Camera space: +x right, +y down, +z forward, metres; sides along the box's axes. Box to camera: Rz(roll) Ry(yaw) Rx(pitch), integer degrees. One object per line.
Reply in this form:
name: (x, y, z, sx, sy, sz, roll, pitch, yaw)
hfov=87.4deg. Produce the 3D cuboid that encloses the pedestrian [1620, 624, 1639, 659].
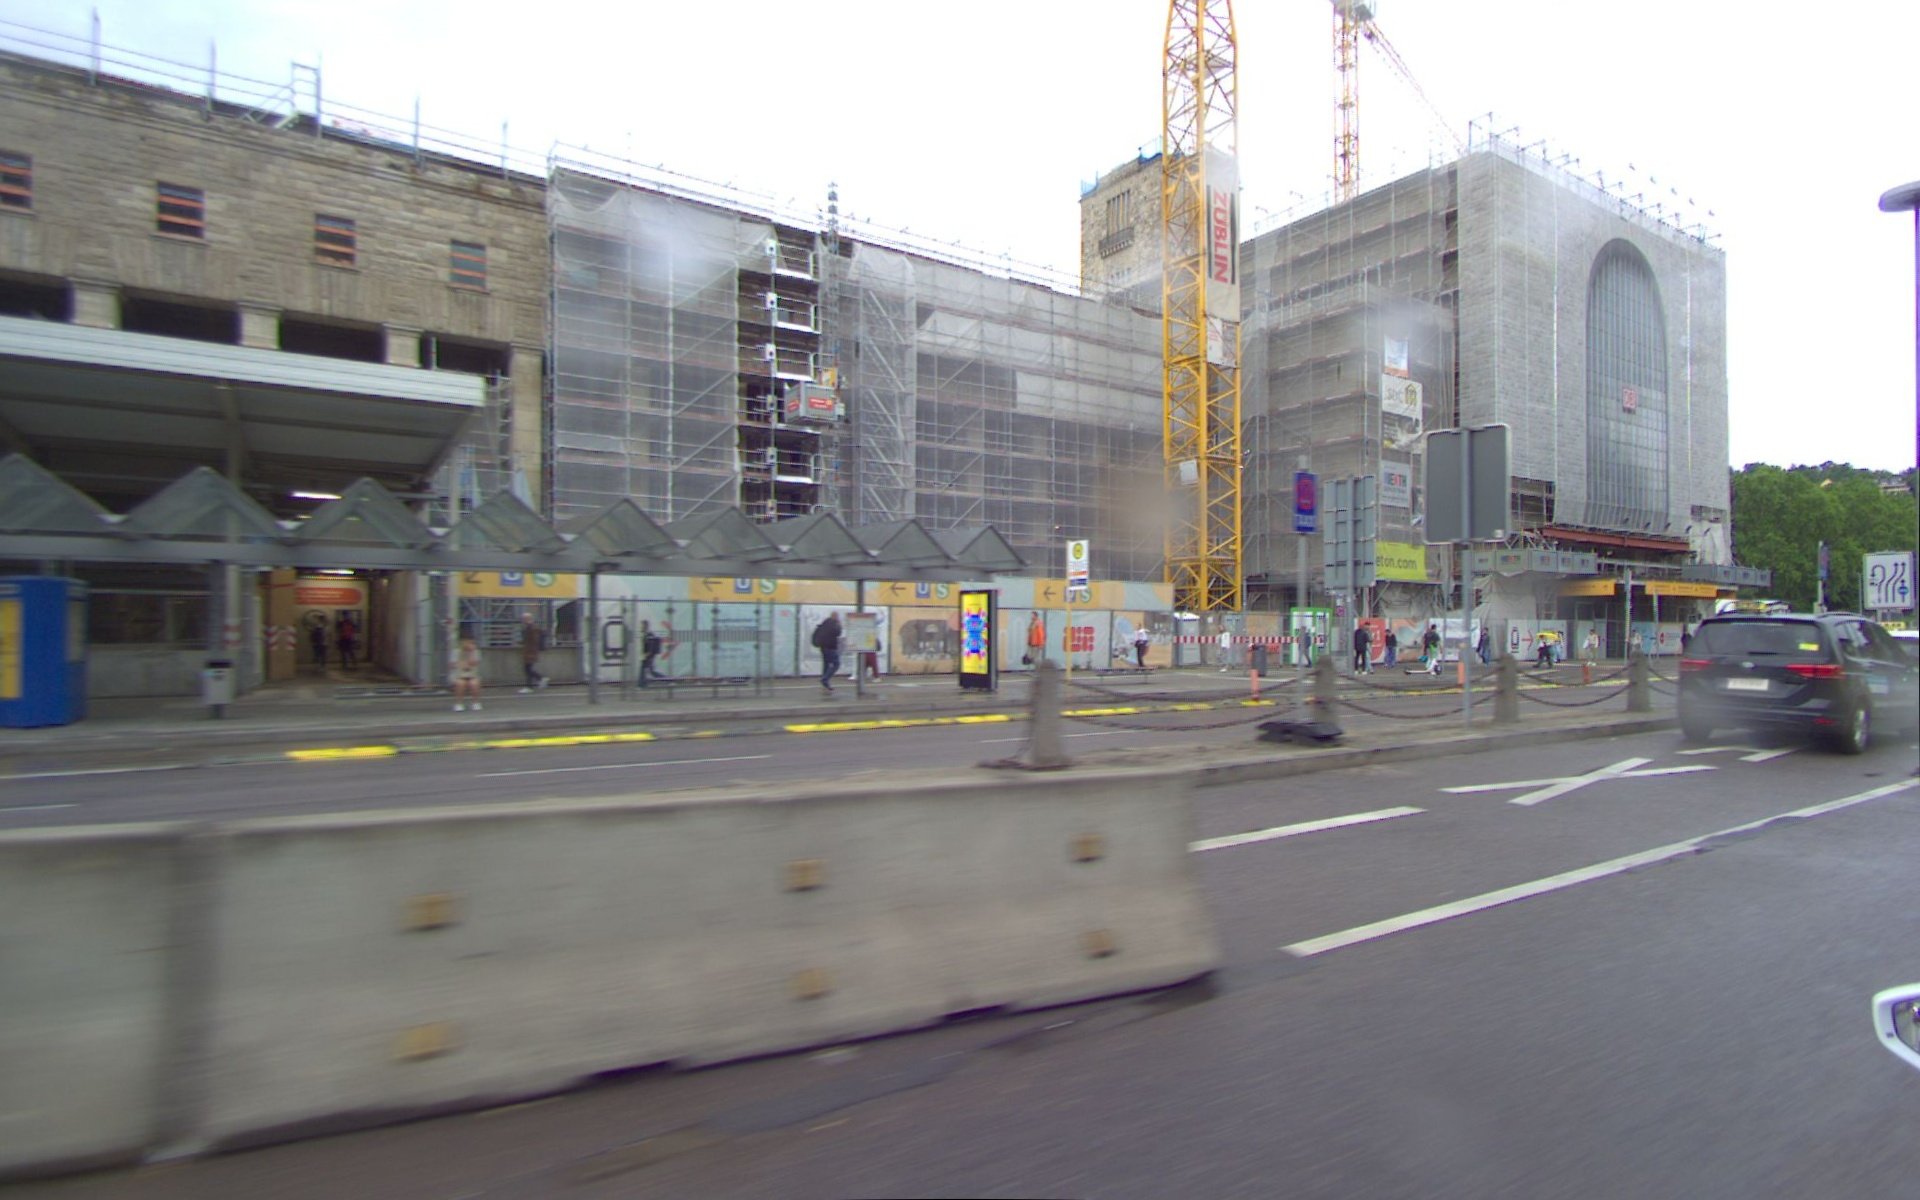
pedestrian: (36.290, 2.239, 54.422, 0.762, 1.865, 0.830, 0, -1, 42)

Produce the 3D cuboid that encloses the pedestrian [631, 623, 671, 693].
pedestrian: (-7.384, 1.370, 23.973, 0.695, 1.629, 0.797, 1, -1, -35)

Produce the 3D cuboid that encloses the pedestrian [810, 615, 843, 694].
pedestrian: (-3.187, 1.285, 23.980, 0.690, 1.865, 0.745, 1, -1, -14)

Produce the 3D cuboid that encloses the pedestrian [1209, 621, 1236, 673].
pedestrian: (9.478, 1.682, 36.228, 0.605, 1.865, 0.718, 1, -1, -30)

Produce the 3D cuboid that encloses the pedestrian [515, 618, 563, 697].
pedestrian: (-9.481, 1.279, 22.621, 0.828, 1.722, 0.872, 1, -1, -35)

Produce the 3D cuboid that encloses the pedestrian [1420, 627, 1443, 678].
pedestrian: (17.660, 1.965, 37.627, 0.699, 1.865, 0.503, 1, -1, -40)

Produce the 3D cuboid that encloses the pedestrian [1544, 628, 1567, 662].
pedestrian: (28.978, 2.196, 48.894, 0.829, 1.635, 0.673, 1, -1, -32)

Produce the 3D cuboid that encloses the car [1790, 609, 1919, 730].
car: (15.424, 1.063, 16.243, 4.786, 1.728, 1.980, 2, -2, -36)

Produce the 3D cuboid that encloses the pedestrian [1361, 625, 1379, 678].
pedestrian: (14.665, 1.826, 35.911, 0.501, 1.865, 0.338, 1, -1, -19)

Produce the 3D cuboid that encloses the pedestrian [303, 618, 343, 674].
pedestrian: (-20.121, 1.440, 31.746, 1.017, 1.718, 1.022, 2, -2, -32)

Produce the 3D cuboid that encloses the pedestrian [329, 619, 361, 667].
pedestrian: (-20.825, 1.447, 33.999, 0.824, 1.604, 0.892, 2, -2, -35)

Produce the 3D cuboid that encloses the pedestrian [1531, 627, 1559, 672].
pedestrian: (24.916, 2.104, 42.765, 0.865, 1.865, 0.834, 0, -1, 42)

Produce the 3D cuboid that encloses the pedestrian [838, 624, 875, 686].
pedestrian: (-2.898, 1.540, 28.209, 0.696, 1.693, 0.796, 1, -1, -39)

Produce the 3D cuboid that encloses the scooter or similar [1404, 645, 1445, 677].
scooter or similar: (16.245, 2.142, 35.141, 1.215, 1.080, 0.460, 1, -1, 1)

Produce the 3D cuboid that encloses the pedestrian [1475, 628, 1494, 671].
pedestrian: (22.790, 2.134, 43.620, 0.564, 1.865, 0.700, 0, -1, 42)

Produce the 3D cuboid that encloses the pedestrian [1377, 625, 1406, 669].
pedestrian: (18.611, 2.024, 43.299, 0.841, 1.865, 0.799, 1, -1, -30)

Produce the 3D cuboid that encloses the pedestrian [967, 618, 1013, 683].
pedestrian: (0.900, 1.496, 30.003, 1.034, 1.865, 0.852, 1, 1, -34)

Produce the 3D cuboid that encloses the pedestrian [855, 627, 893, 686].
pedestrian: (-2.364, 1.535, 27.583, 0.696, 1.568, 0.796, 1, -1, -39)

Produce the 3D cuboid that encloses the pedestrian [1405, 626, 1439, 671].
pedestrian: (19.369, 2.033, 42.119, 1.046, 1.865, 0.835, 1, -1, -30)

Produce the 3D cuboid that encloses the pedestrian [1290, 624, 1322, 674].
pedestrian: (13.344, 1.875, 38.691, 0.858, 1.865, 0.799, 1, -1, -30)

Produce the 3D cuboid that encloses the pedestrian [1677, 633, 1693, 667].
pedestrian: (41.438, 2.852, 57.386, 0.764, 1.865, 0.532, 1, -1, -36)

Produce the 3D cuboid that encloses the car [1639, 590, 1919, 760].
car: (11.215, 0.906, 13.317, 4.781, 1.887, 1.982, 2, -2, -33)

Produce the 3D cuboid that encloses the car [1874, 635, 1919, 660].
car: (61.883, 3.116, 65.938, 3.959, 1.487, 1.981, 2, -1, -34)

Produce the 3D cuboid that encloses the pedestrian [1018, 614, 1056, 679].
pedestrian: (2.421, 1.456, 31.448, 0.856, 1.965, 0.737, 1, 1, -34)

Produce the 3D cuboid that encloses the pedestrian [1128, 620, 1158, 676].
pedestrian: (6.165, 1.596, 33.859, 0.648, 1.865, 0.739, 1, -1, -30)

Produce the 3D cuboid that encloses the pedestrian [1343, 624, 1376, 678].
pedestrian: (14.086, 1.779, 35.423, 0.861, 1.865, 0.704, 1, -1, -5)

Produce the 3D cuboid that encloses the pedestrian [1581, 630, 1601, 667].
pedestrian: (29.746, 2.285, 47.376, 0.674, 1.708, 0.834, 0, -1, 42)

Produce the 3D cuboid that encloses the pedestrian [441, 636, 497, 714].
pedestrian: (-8.812, 1.325, 18.027, 0.797, 1.343, 0.695, 1, -1, -35)
